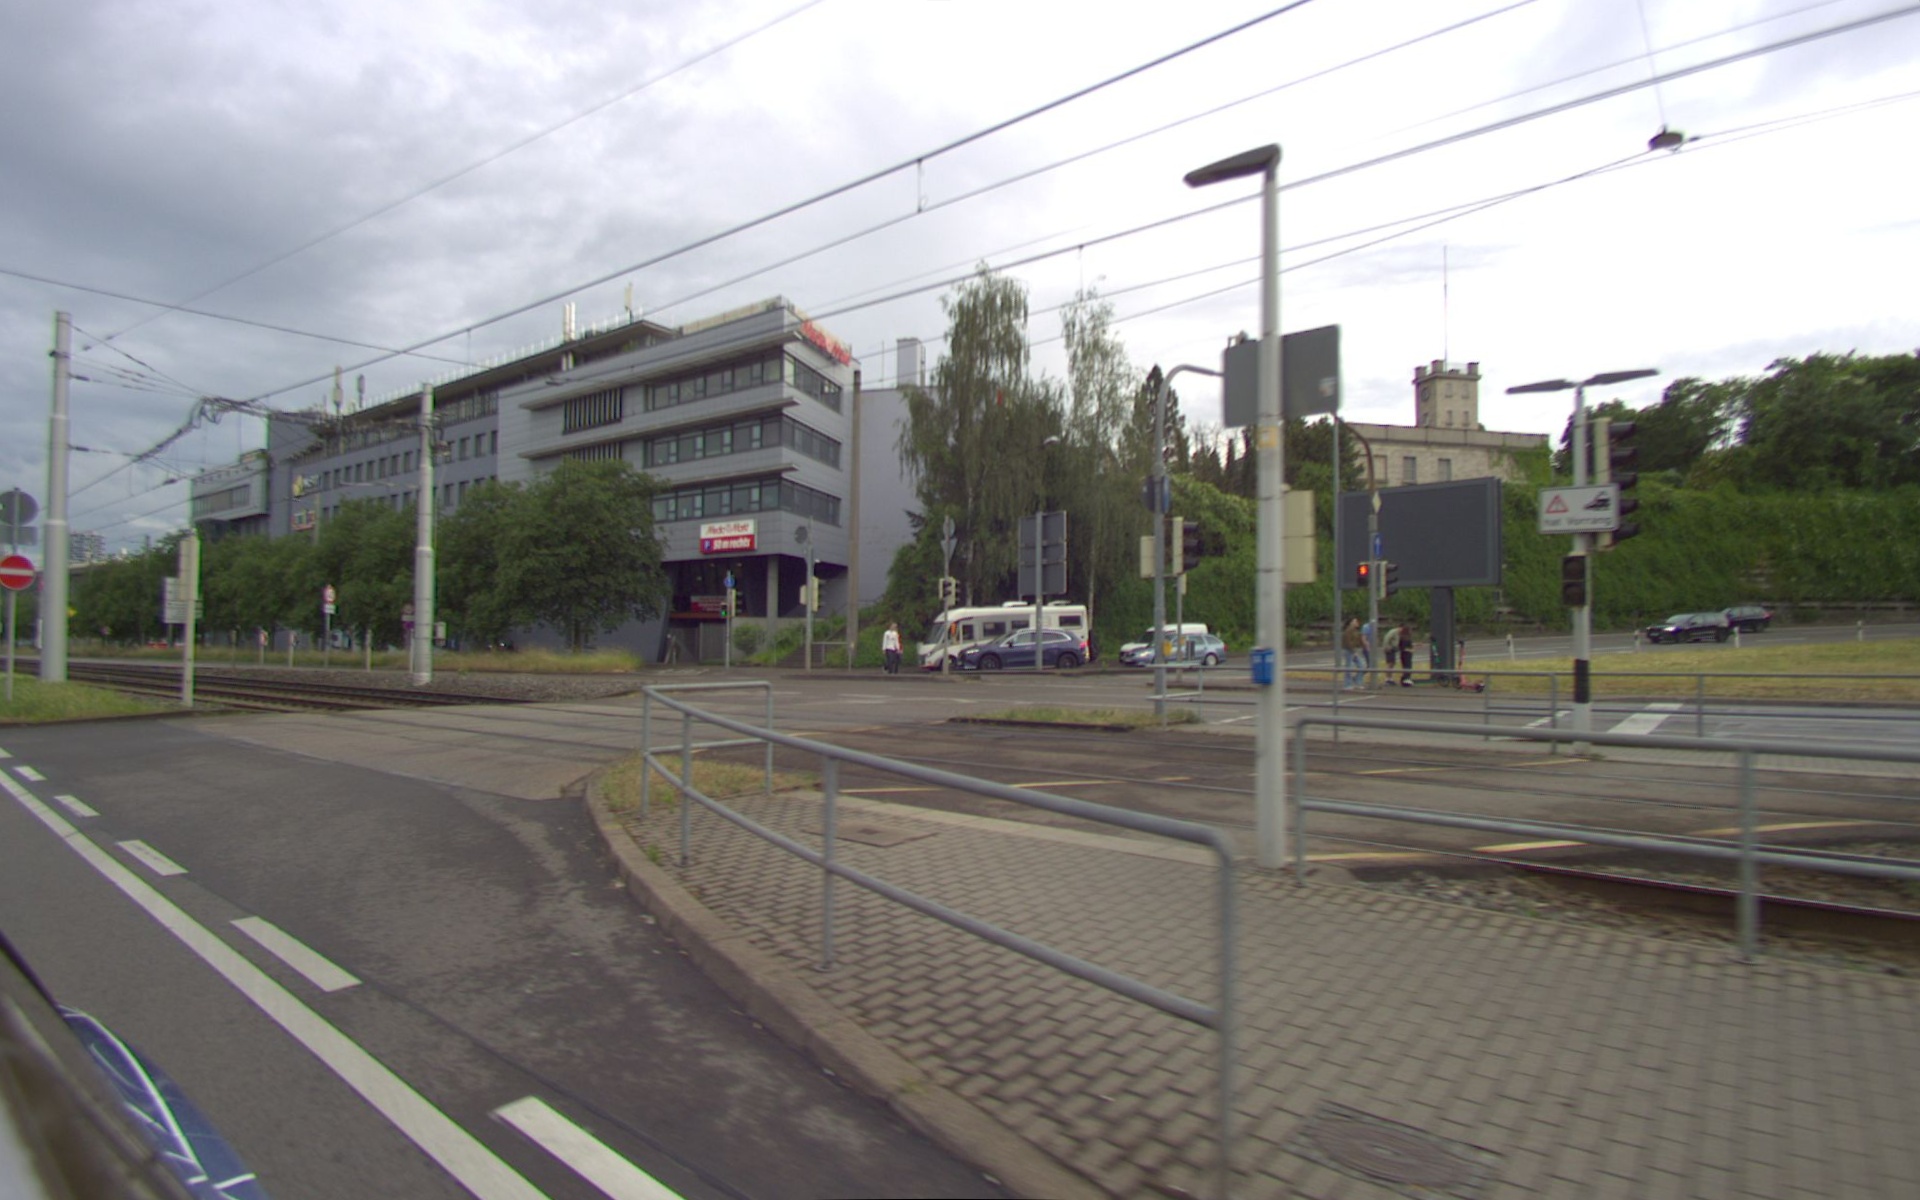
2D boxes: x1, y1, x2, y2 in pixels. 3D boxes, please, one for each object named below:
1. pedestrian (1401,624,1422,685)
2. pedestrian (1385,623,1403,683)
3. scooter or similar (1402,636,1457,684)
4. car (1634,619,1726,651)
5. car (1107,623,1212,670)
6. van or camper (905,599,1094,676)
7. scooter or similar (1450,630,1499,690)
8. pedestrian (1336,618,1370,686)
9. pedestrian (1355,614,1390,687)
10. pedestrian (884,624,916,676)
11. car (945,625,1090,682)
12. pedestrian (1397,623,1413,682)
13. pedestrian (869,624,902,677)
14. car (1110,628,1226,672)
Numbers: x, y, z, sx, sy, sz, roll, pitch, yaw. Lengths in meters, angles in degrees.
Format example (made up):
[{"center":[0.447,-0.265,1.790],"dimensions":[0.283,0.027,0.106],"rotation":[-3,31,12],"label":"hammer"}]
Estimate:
[{"center":[11.417,1.373,25.595],"dimensions":[0.354,1.531,0.344],"rotation":[-2,0,42],"label":"pedestrian"},{"center":[11.244,1.376,26.239],"dimensions":[0.306,1.530,0.307],"rotation":[-2,0,42],"label":"pedestrian"},{"center":[11.812,1.516,25.482],"dimensions":[1.130,1.181,0.380],"rotation":[-1,-3,10],"label":"scooter or similar"},{"center":[38.580,1.887,54.241],"dimensions":[3.889,1.586,1.870],"rotation":[-3,-3,38],"label":"car"},{"center":[9.025,2.067,45.793],"dimensions":[4.260,1.894,2.006],"rotation":[-2,0,-27],"label":"car"},{"center":[1.695,1.537,43.283],"dimensions":[7.630,2.905,2.308],"rotation":[-2,0,-18],"label":"van or camper"},{"center":[12.155,1.408,23.926],"dimensions":[0.405,1.374,1.216],"rotation":[-1,-3,-5],"label":"scooter or similar"},{"center":[9.609,1.265,24.739],"dimensions":[0.631,1.640,0.405],"rotation":[-2,0,42],"label":"pedestrian"},{"center":[10.146,1.234,24.868],"dimensions":[0.622,1.760,0.495],"rotation":[-2,0,42],"label":"pedestrian"},{"center":[-2.097,1.737,35.468],"dimensions":[0.812,1.799,0.738],"rotation":[-3,-4,41],"label":"pedestrian"},{"center":[2.187,1.998,38.804],"dimensions":[5.083,1.894,2.006],"rotation":[-2,0,-17],"label":"car"},{"center":[11.583,1.367,26.341],"dimensions":[0.306,1.530,0.229],"rotation":[-2,0,42],"label":"pedestrian"},{"center":[-2.570,1.737,34.881],"dimensions":[0.812,1.799,0.738],"rotation":[-3,-4,41],"label":"pedestrian"},{"center":[8.453,1.991,41.109],"dimensions":[4.260,1.519,2.006],"rotation":[-2,0,-27],"label":"car"}]
